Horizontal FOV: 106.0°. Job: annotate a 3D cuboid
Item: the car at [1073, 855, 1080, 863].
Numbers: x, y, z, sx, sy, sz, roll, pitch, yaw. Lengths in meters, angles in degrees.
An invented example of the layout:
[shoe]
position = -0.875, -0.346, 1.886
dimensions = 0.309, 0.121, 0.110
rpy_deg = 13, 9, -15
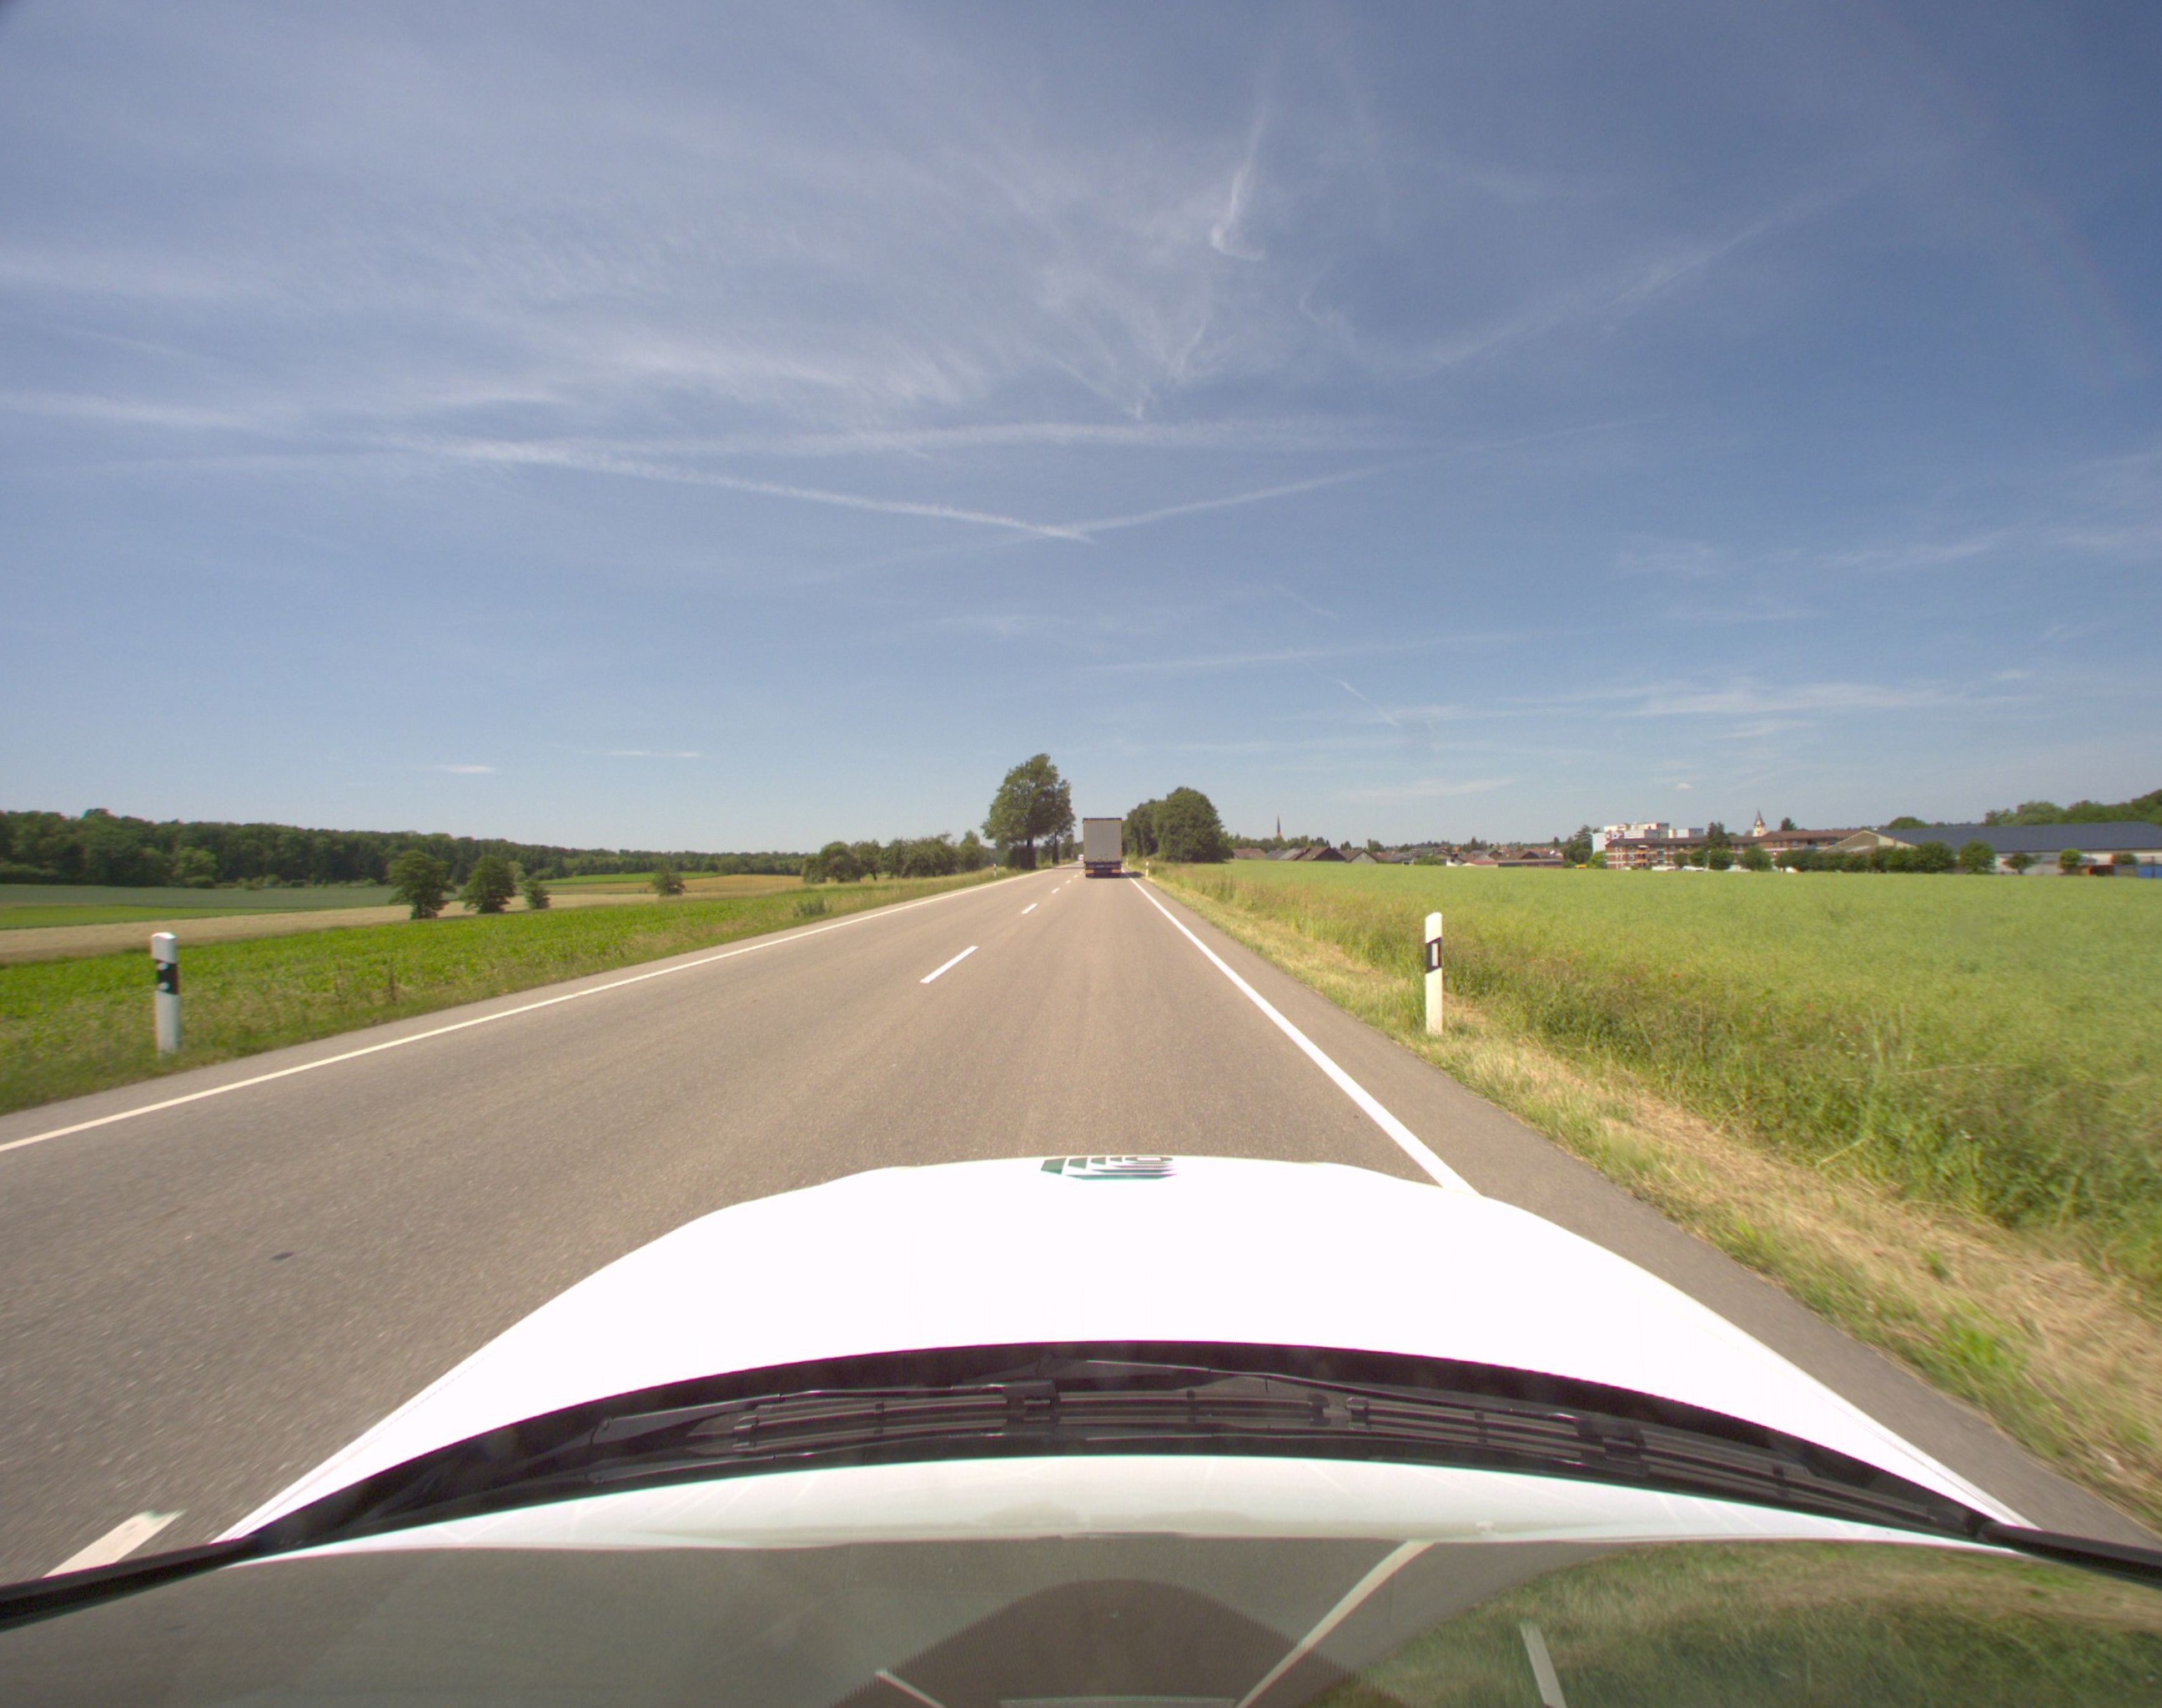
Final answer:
[car]
position = -1.159, 1.163, 206.881
dimensions = 1.867, 2.013, 4.074
rpy_deg = 0, 0, 0

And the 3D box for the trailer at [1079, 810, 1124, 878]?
[trailer]
position = 1.512, -0.651, 59.901
dimensions = 2.857, 4.400, 13.495
rpy_deg = -1, 0, 1
